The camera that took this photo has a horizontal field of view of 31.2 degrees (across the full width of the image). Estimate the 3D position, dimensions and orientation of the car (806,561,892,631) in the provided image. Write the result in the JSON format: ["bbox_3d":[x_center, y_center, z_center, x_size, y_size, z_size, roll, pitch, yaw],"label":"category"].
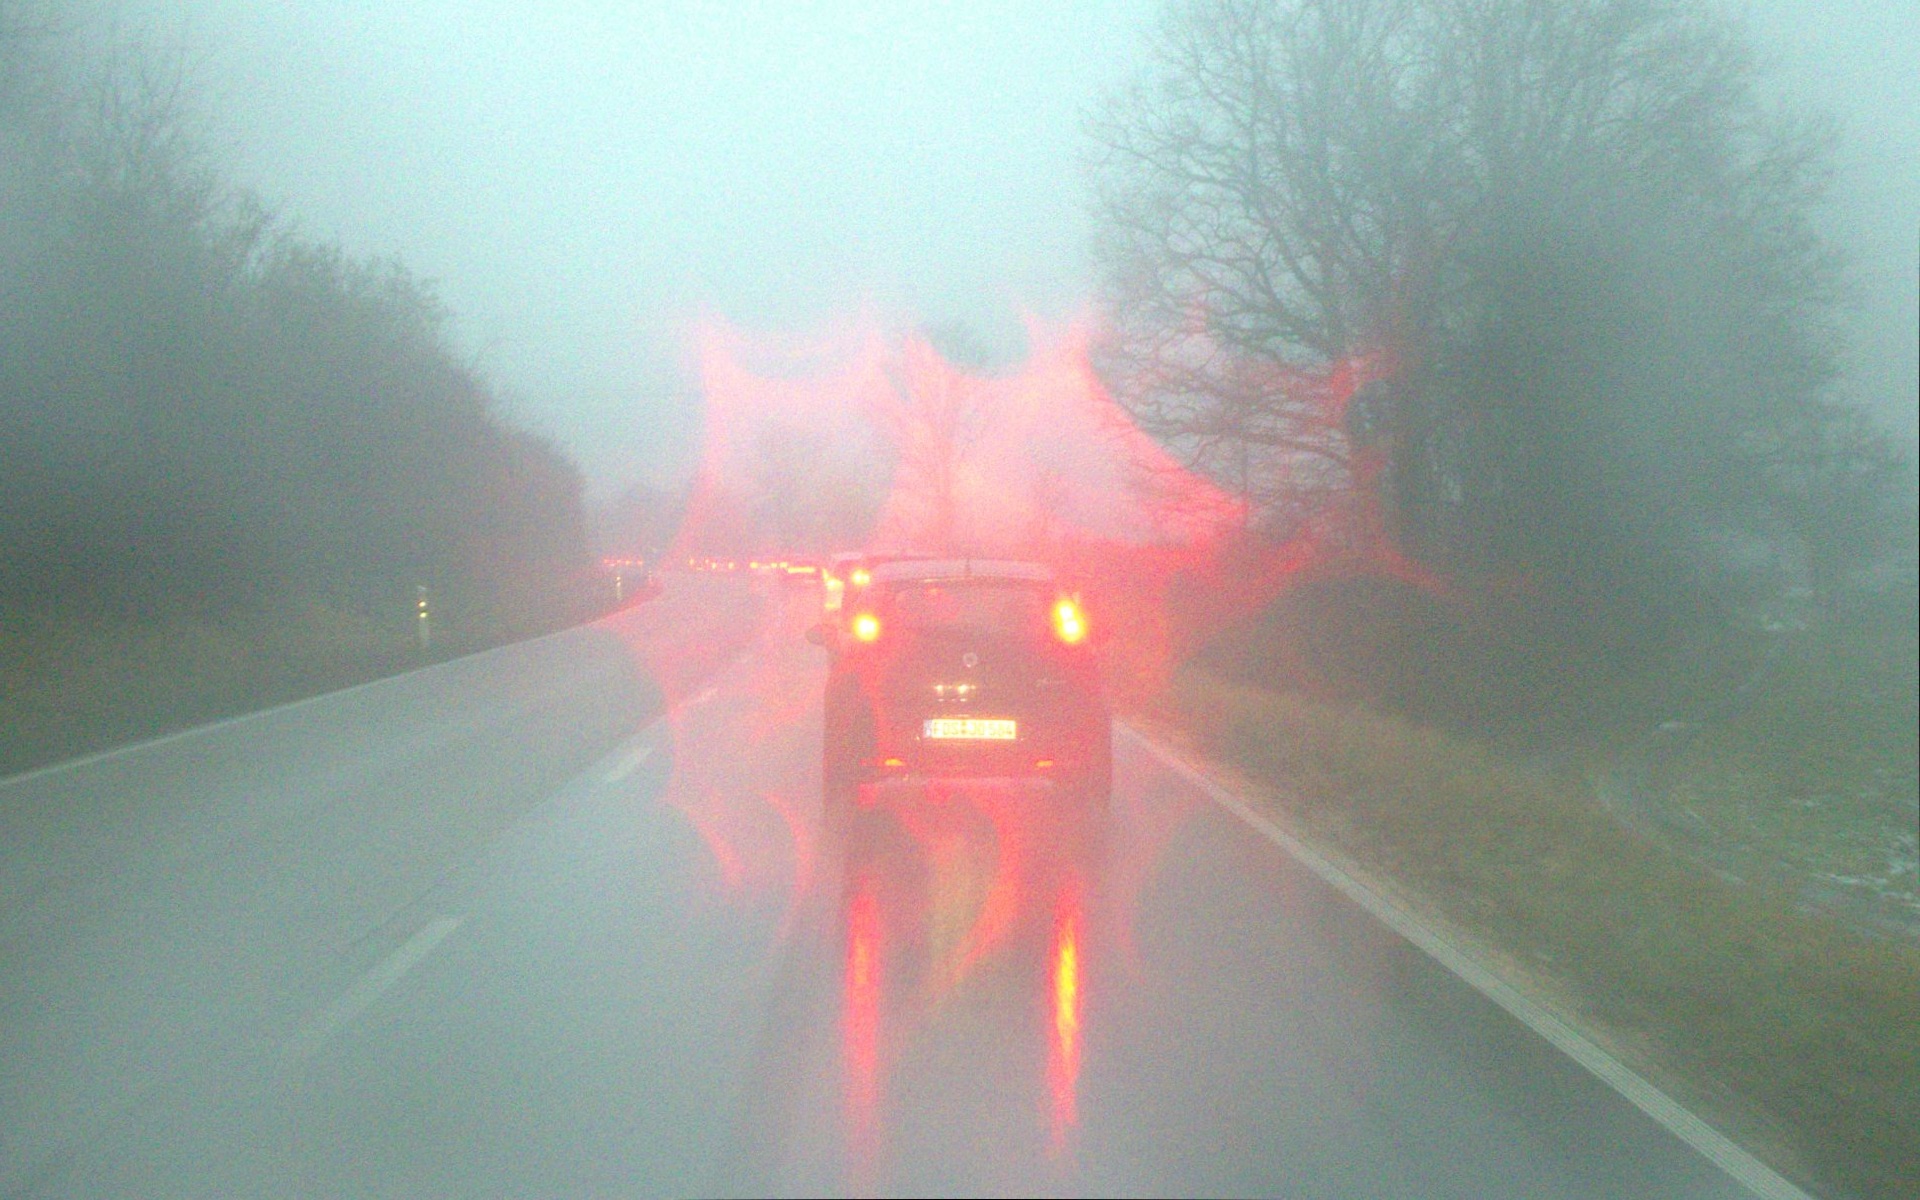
[{"bbox_3d":[-2.292,-0.098,71.793,1.547,1.392,3.869,1,1,1],"label":"car"}]

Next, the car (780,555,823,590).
[{"bbox_3d":[-6.440,-1.139,139.985,1.547,1.392,3.869,1,1,0],"label":"car"}]

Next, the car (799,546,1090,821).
[{"bbox_3d":[-0.018,0.447,21.221,1.602,1.517,3.869,1,1,2],"label":"car"}]

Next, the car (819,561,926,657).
[{"bbox_3d":[-1.308,0.111,52.371,1.547,1.392,3.869,1,1,0],"label":"car"}]
